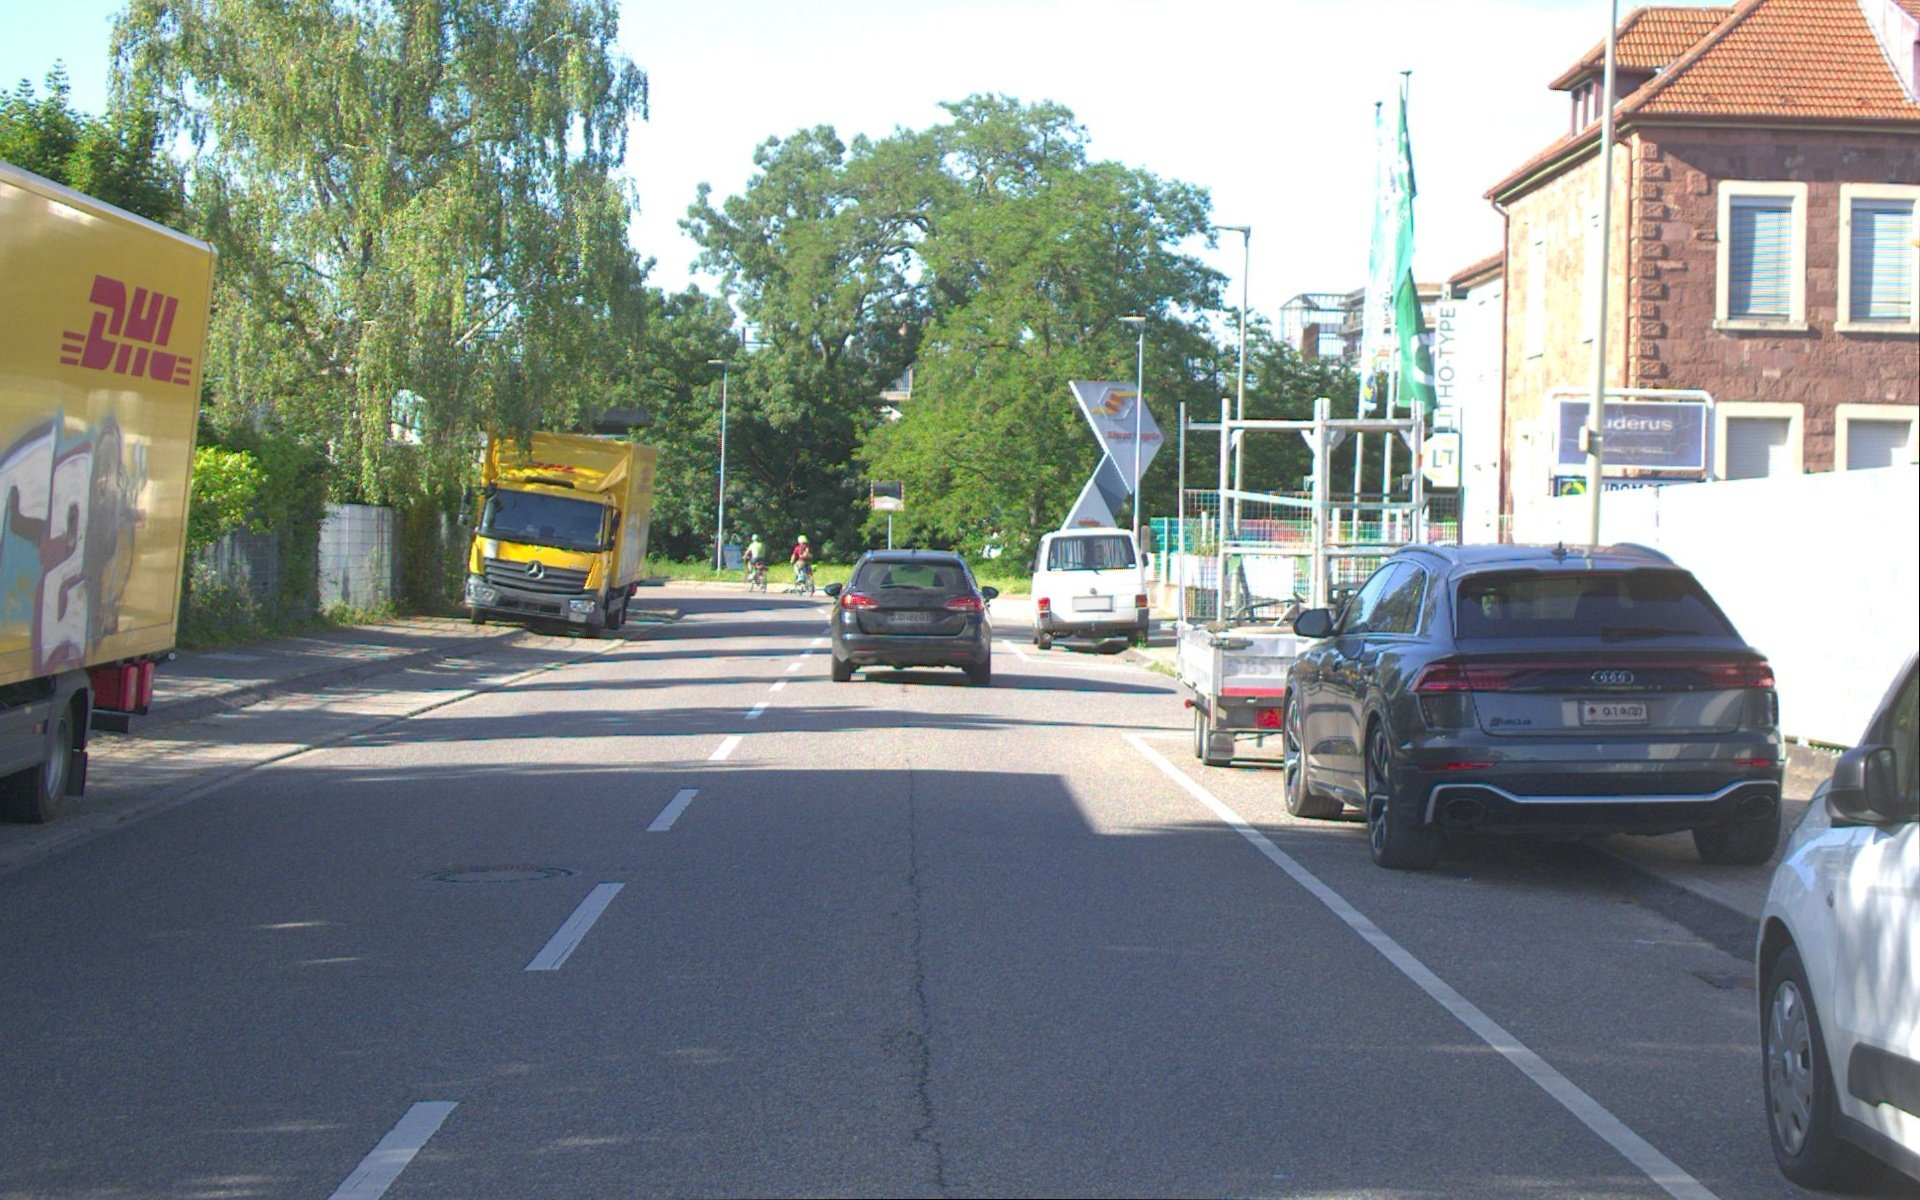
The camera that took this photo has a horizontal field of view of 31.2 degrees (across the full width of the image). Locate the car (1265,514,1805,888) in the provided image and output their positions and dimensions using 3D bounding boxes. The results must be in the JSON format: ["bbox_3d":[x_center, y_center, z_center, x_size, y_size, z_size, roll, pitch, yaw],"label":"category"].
[{"bbox_3d":[2.928,0.477,18.596,1.994,1.661,4.731,3,0,-1],"label":"car"}]

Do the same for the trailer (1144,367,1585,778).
[{"bbox_3d":[2.827,-0.194,25.575,2.460,2.663,5.702,1,0,-1],"label":"trailer"}]

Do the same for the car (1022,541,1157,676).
[{"bbox_3d":[2.062,0.136,56.085,1.874,2.007,5.160,3,0,0],"label":"car"}]

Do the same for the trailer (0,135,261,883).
[{"bbox_3d":[-6.003,-0.451,18.543,2.991,3.431,8.162,1,0,-2],"label":"trailer"}]

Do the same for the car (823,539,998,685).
[{"bbox_3d":[-0.528,0.108,38.744,1.847,1.525,4.000,1,1,0],"label":"car"}]

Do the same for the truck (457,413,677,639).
[{"bbox_3d":[-6.964,-1.361,62.128,2.631,3.493,8.657,7,1,-1],"label":"truck"}]

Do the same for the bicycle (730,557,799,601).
[{"bbox_3d":[-5.854,-0.646,102.793,0.804,1.217,2.258,3,0,-40],"label":"bicycle"}]

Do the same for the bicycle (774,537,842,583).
[{"bbox_3d":[-4.402,-1.166,99.559,0.803,1.263,2.258,3,0,-35],"label":"bicycle"}]

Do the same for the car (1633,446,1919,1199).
[{"bbox_3d":[2.927,0.632,7.248,1.855,1.824,5.168,3,0,-1],"label":"car"}]
